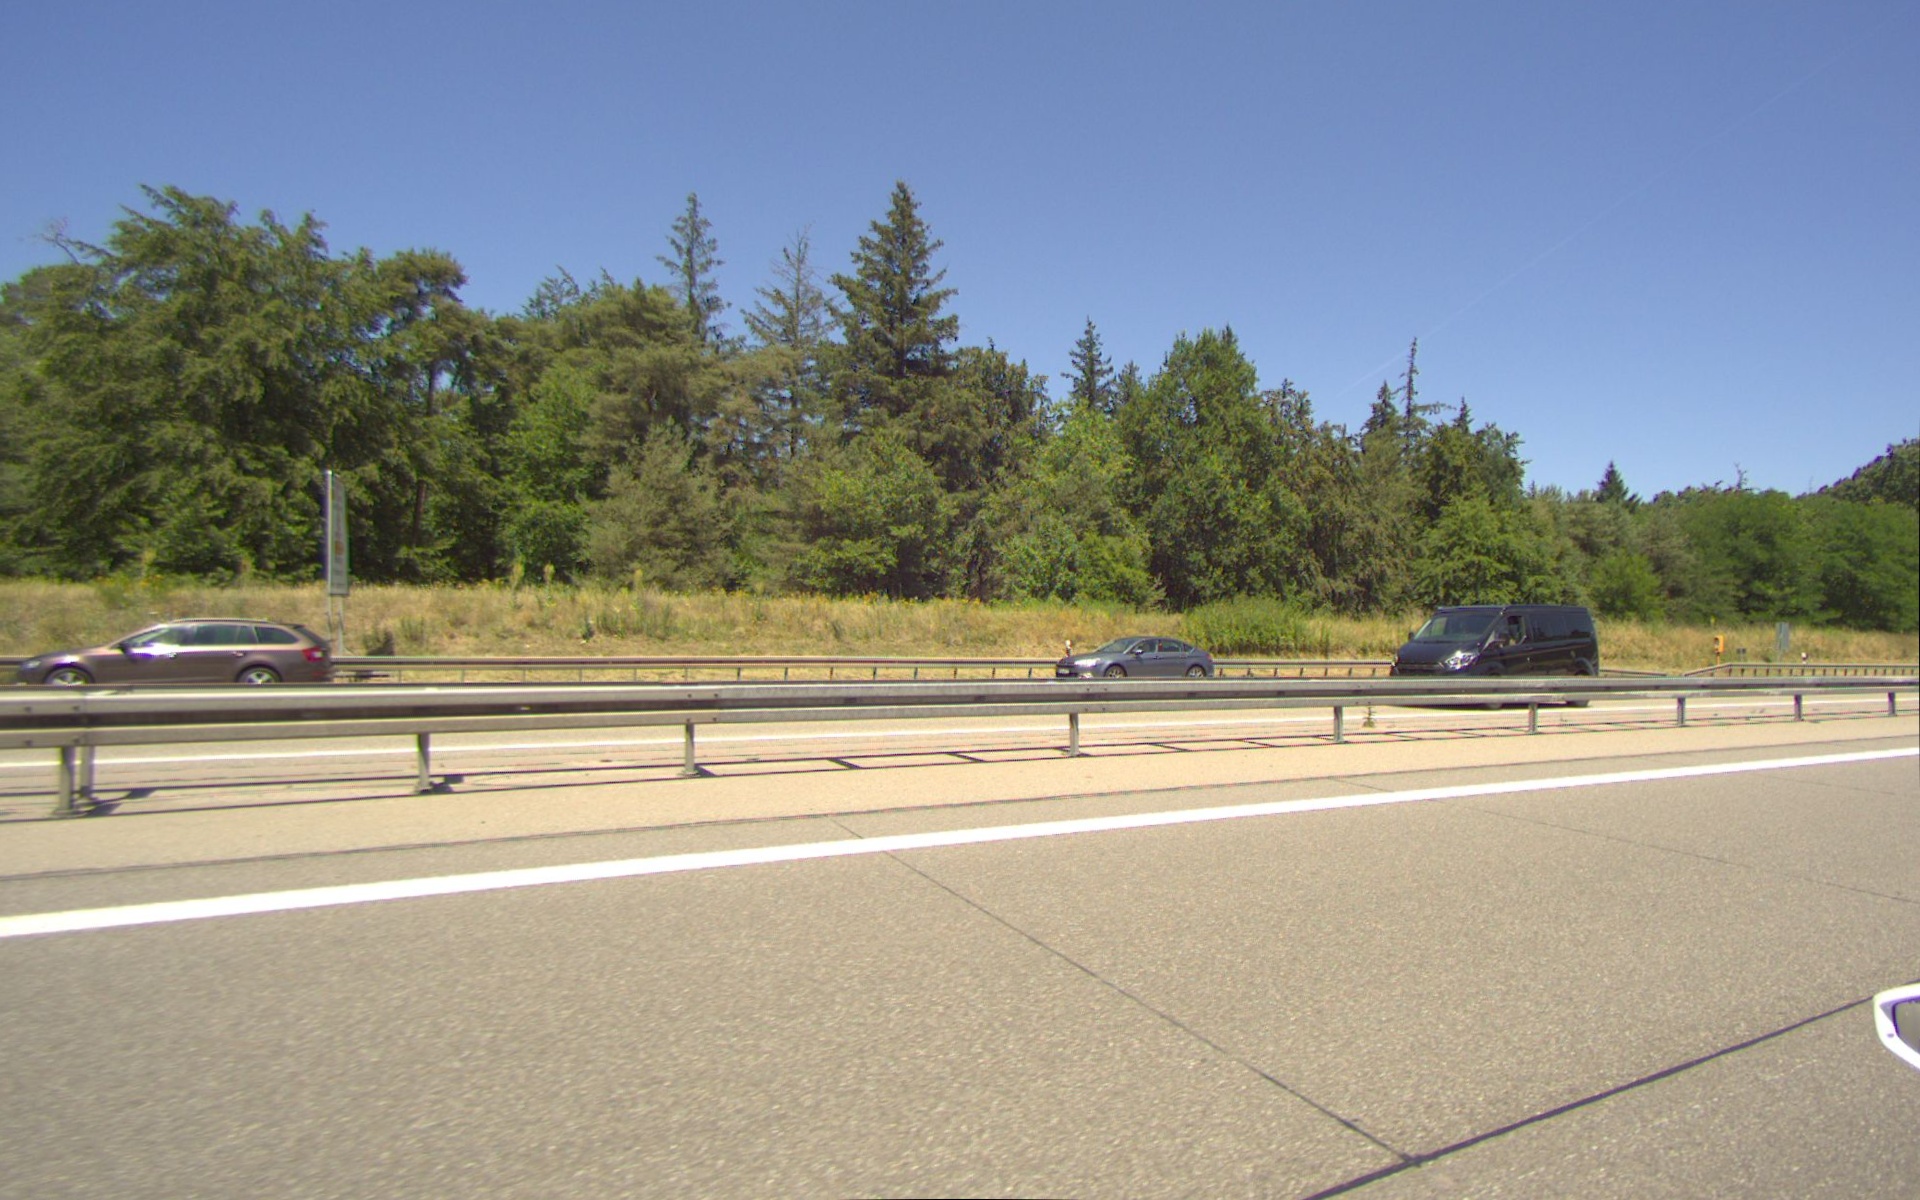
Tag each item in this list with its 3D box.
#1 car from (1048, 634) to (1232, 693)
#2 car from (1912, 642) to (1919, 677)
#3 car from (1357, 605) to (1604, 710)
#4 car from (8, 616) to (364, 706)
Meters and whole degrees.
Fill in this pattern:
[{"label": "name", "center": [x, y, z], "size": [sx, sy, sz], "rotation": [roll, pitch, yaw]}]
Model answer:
[{"label": "car", "center": [5.002, 1.735, 27.715], "size": [4.882, 1.482, 1.919], "rotation": [2, -2, -29]}, {"label": "car", "center": [53.270, 3.191, 53.807], "size": [4.586, 1.851, 1.985], "rotation": [2, -3, -29]}, {"label": "car", "center": [10.924, 1.173, 21.033], "size": [4.882, 1.966, 2.270], "rotation": [2, -2, -29]}, {"label": "car", "center": [-13.933, 1.089, 18.572], "size": [4.882, 1.482, 2.077], "rotation": [2, -2, -29]}]
